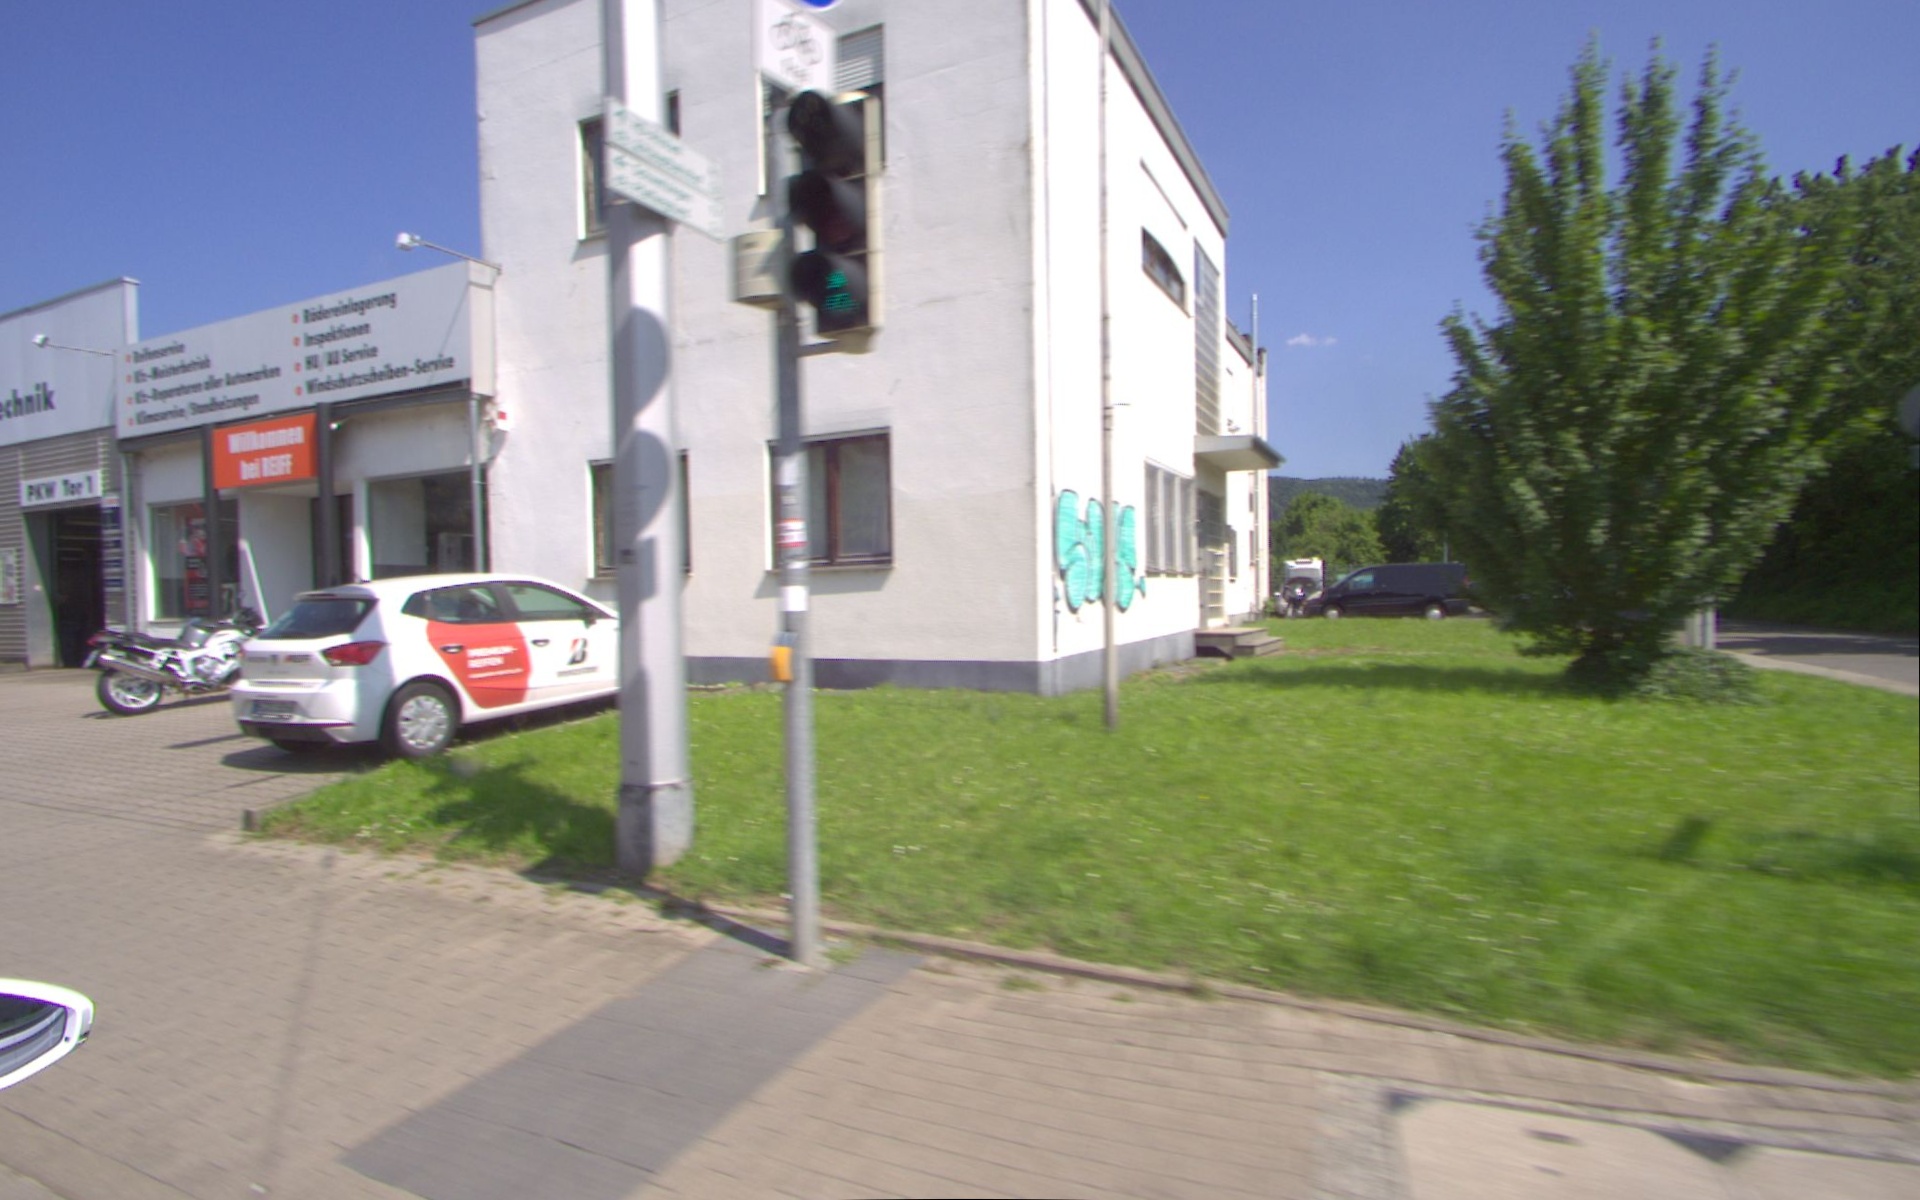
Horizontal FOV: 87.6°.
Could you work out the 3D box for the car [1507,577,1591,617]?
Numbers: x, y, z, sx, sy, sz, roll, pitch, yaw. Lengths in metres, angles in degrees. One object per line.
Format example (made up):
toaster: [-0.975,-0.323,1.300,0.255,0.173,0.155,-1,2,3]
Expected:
car: [23.922,-0.187,40.838,2.056,1.531,4.528,1,2,19]

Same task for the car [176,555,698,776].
car: [-4.531,0.405,9.410,1.859,1.483,3.983,0,4,25]

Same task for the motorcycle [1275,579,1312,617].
motorcycle: [9.729,-0.039,29.134,0.840,1.045,2.561,1,0,22]

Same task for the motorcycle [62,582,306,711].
motorcycle: [-9.343,0.507,12.195,0.719,1.327,2.181,-1,4,25]

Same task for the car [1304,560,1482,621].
car: [14.130,-0.288,33.038,5.172,1.840,1.996,-1,0,18]

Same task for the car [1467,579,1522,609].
car: [26.704,-0.305,50.111,1.884,1.418,3.724,-1,0,20]

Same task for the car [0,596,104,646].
car: [-27.854,0.610,29.398,1.695,1.394,3.763,0,1,22]
